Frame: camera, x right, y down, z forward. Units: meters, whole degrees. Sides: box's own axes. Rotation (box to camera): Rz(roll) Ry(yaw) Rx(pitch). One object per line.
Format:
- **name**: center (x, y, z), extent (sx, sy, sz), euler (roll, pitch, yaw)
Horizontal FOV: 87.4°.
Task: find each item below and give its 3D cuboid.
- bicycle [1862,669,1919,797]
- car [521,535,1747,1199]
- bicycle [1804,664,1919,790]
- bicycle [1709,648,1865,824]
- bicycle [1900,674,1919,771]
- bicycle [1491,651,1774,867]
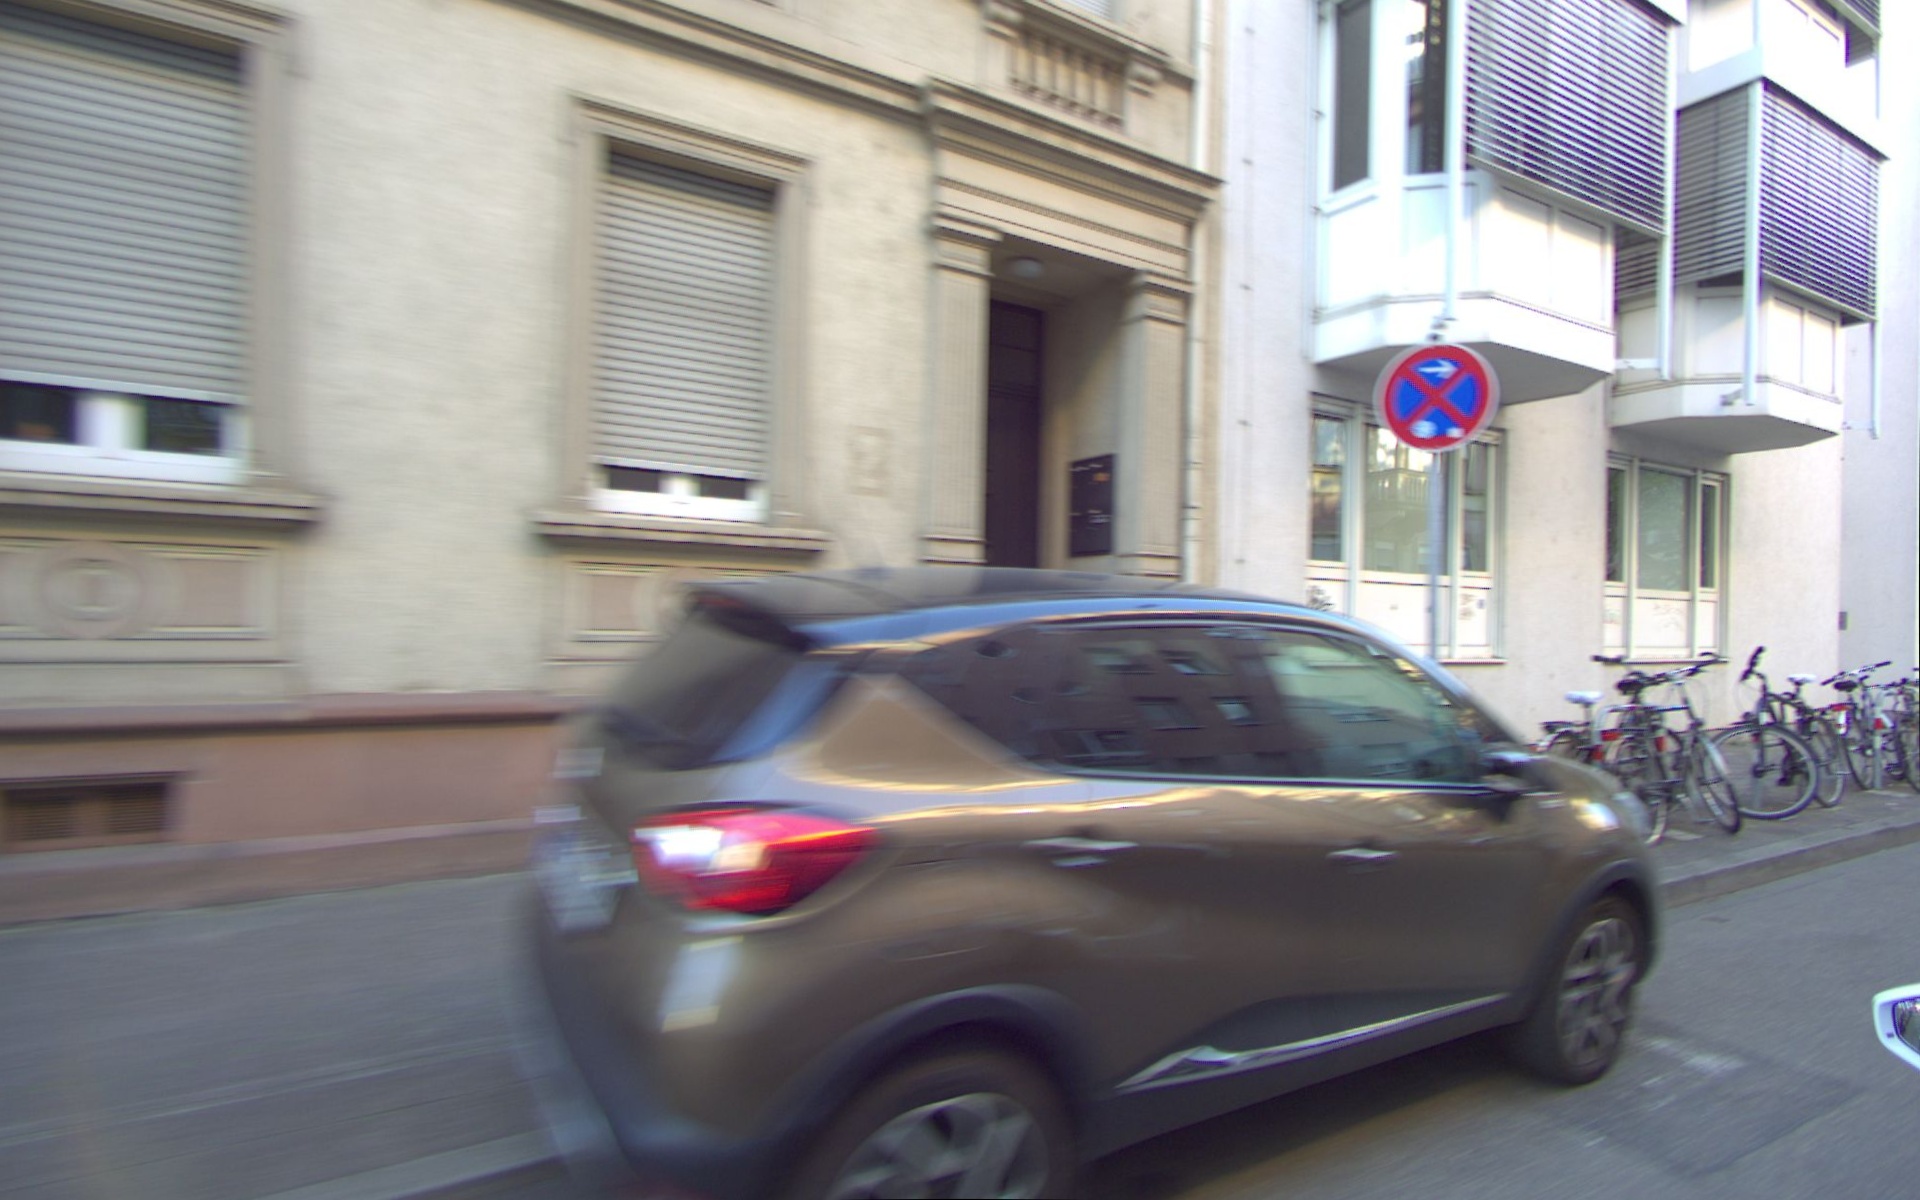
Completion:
- **bicycle**: center (8.785, 1.168, 9.139), extent (1.791, 1.056, 0.305), euler (1, 0, -30)
- **car**: center (0.802, 0.735, 3.467), extent (4.026, 1.597, 1.781), euler (1, -1, -32)
- **bicycle**: center (8.379, 1.135, 9.267), extent (1.791, 1.056, 0.305), euler (1, 0, -30)
- **bicycle**: center (6.422, 1.001, 7.768), extent (1.791, 1.239, 0.305), euler (1, 0, -30)
- **bicycle**: center (10.312, 1.246, 10.420), extent (1.791, 0.944, 0.305), euler (1, 0, -30)
- **bicycle**: center (4.431, 0.949, 6.554), extent (2.238, 1.203, 0.593), euler (1, 0, -30)
